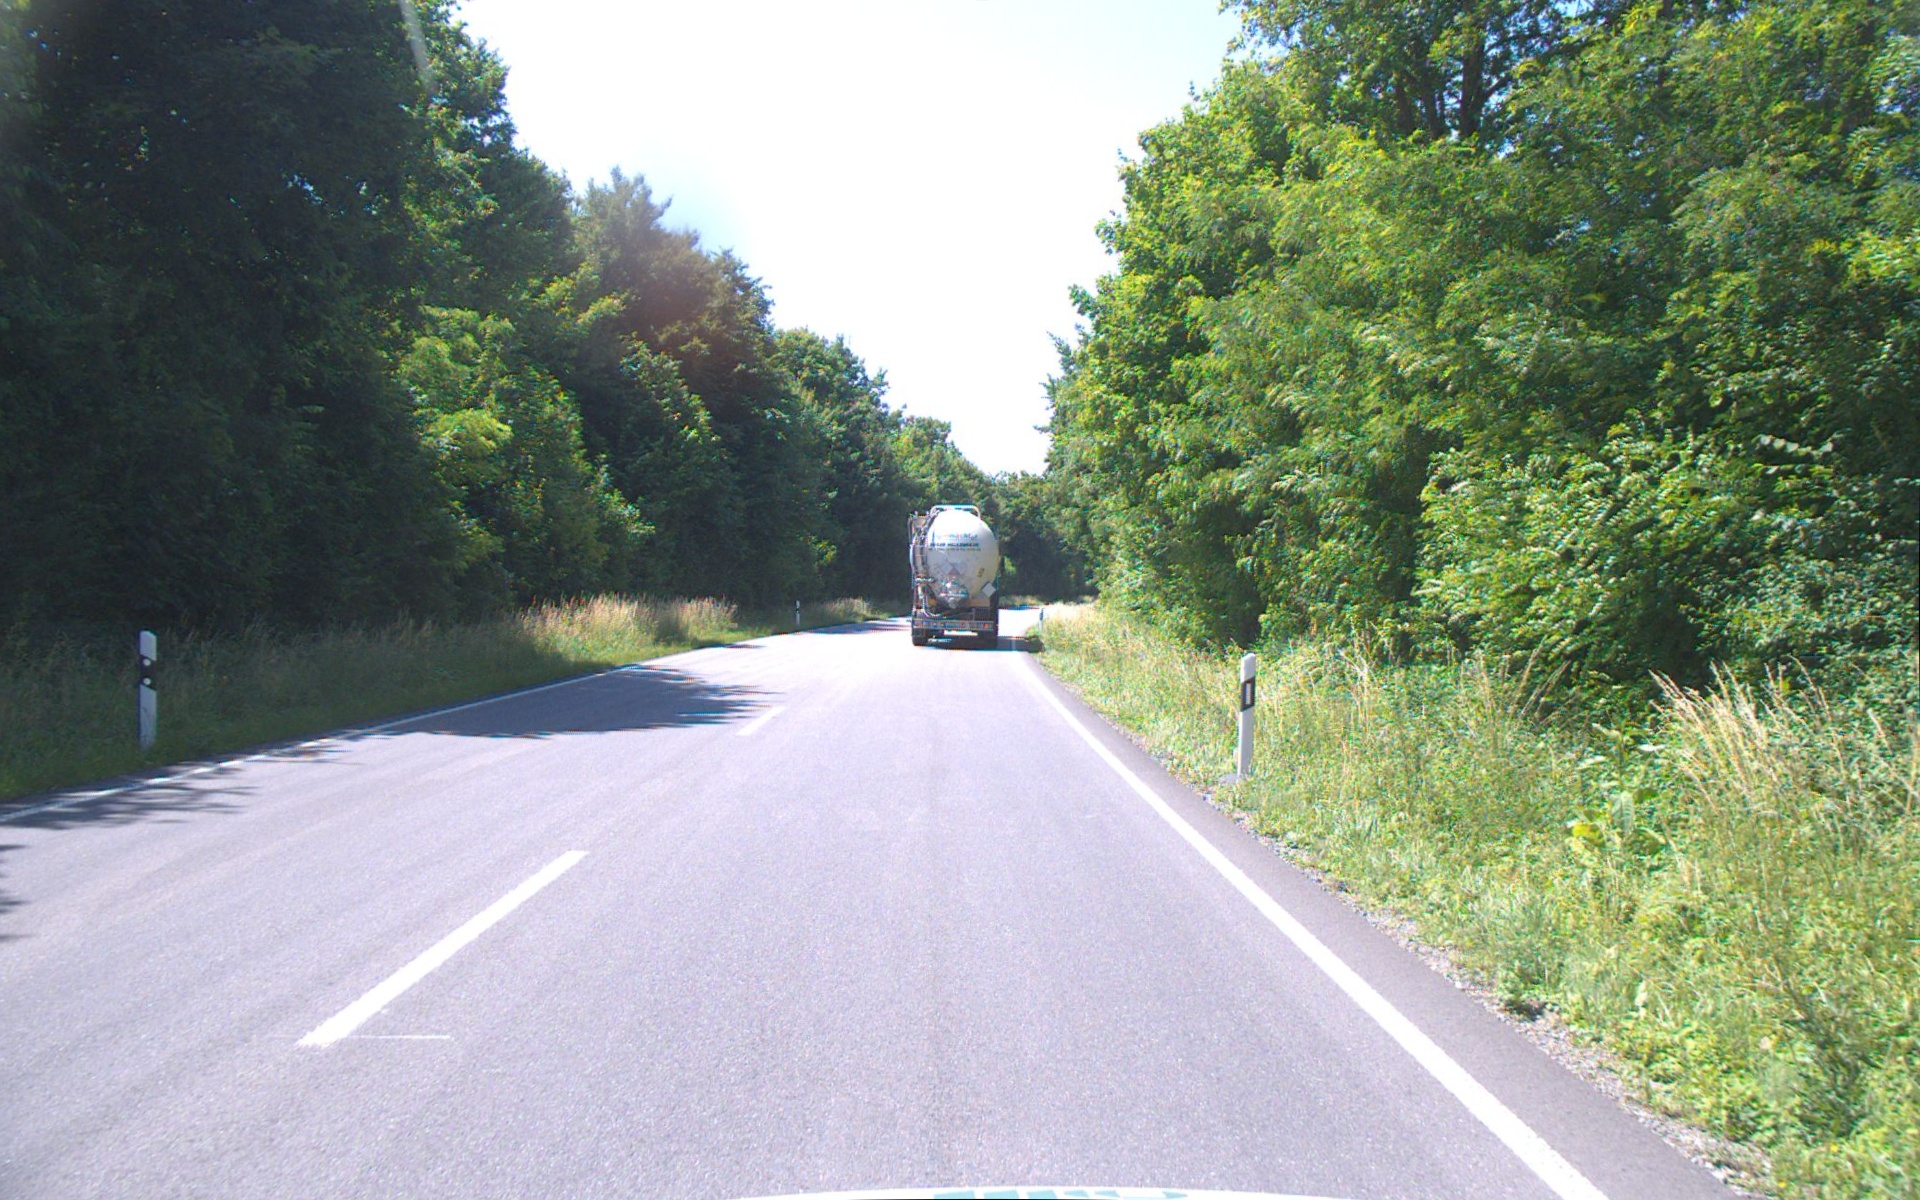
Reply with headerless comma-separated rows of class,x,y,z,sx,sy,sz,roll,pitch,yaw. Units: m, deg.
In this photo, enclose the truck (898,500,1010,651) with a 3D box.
truck,-0.274,-0.705,53.000,2.987,4.068,15.634,1,0,-1
